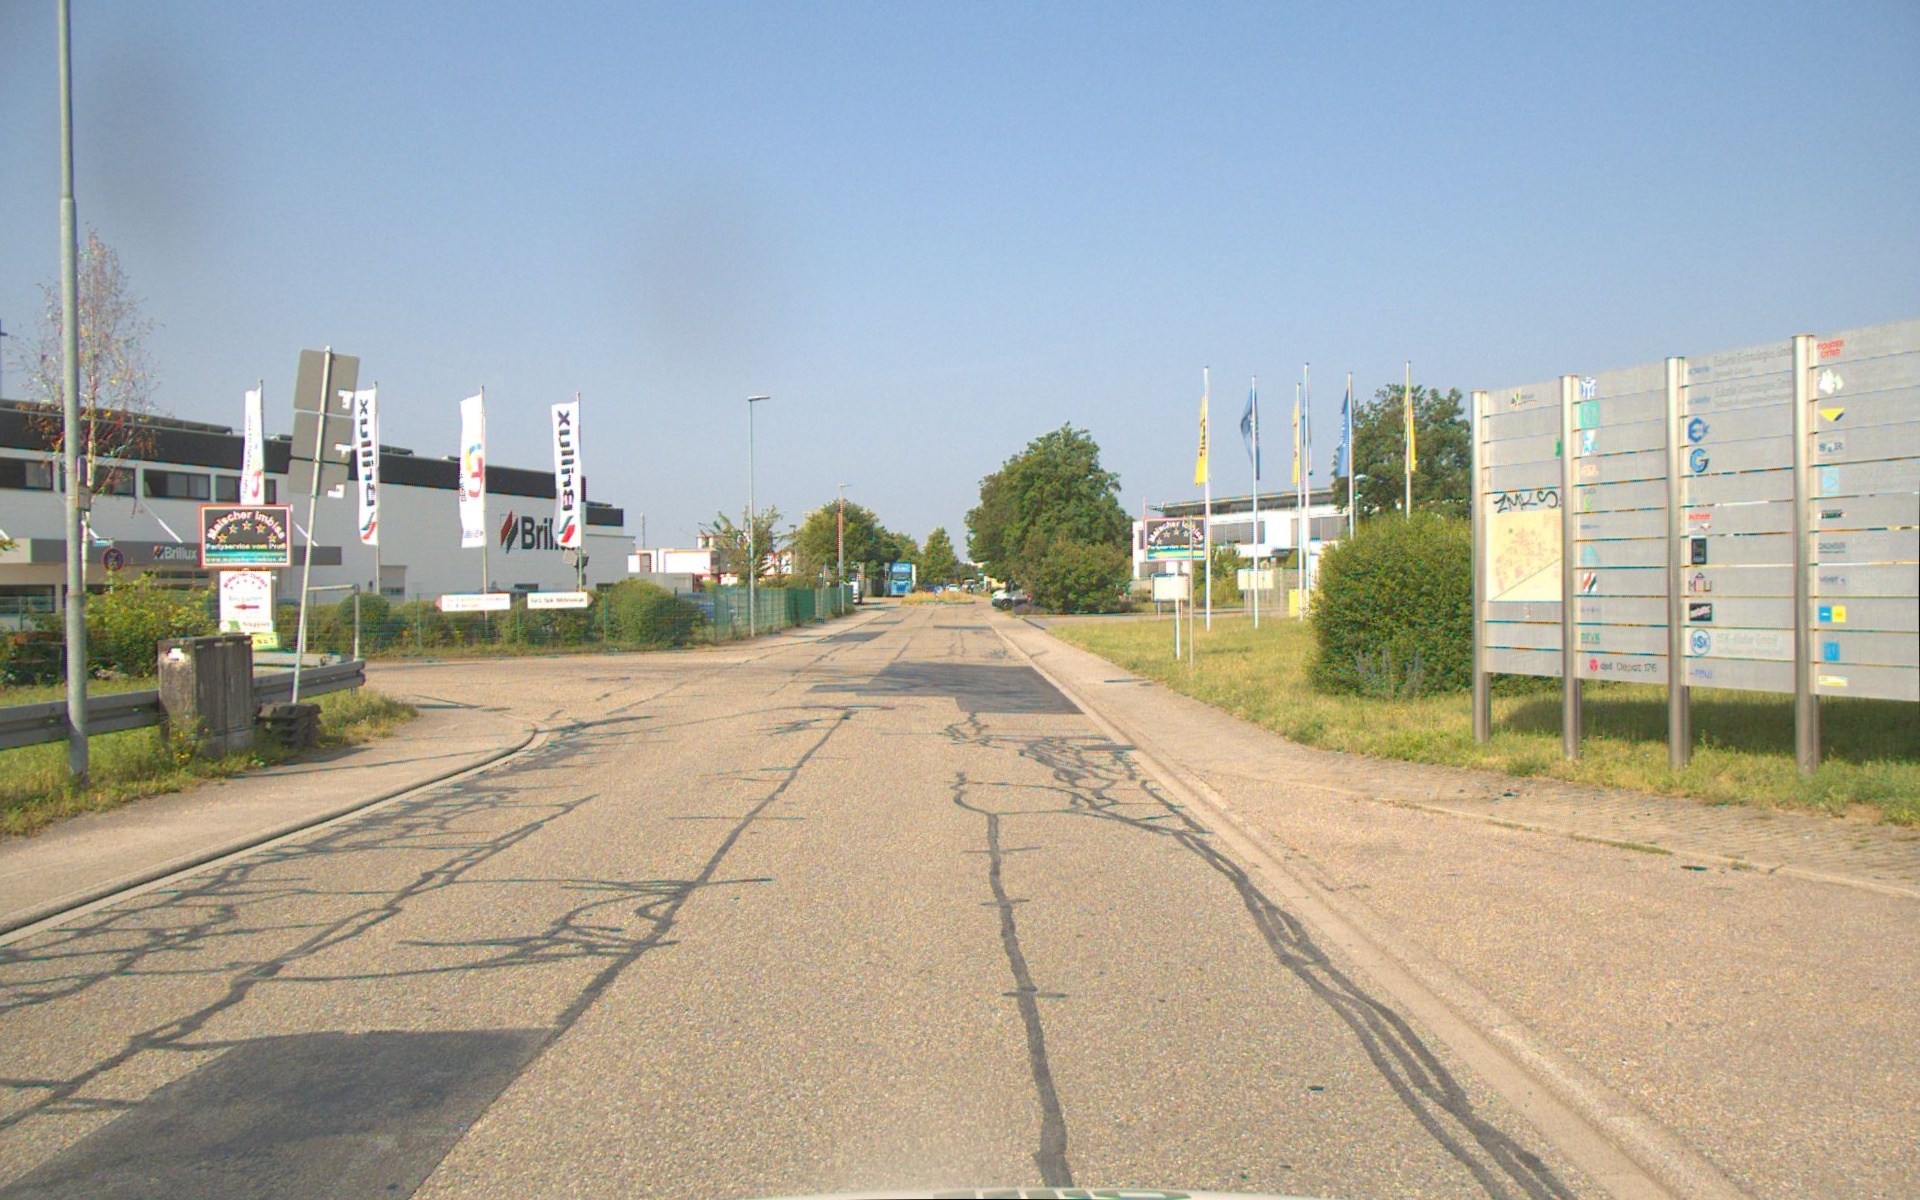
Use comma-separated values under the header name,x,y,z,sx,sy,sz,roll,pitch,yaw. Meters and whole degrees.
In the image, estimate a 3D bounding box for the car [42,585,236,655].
name,x,y,z,sx,sy,sz,roll,pitch,yaw
car,-22.094,0.530,44.551,4.554,1.782,2.152,-1,0,21

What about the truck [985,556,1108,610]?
name,x,y,z,sx,sy,sz,roll,pitch,yaw
truck,5.824,-1.150,112.051,8.042,3.429,2.740,-1,-1,-2

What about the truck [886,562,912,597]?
name,x,y,z,sx,sy,sz,roll,pitch,yaw
truck,-7.216,-2.349,196.011,2.768,3.892,9.670,1,-1,-1

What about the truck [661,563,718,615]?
name,x,y,z,sx,sy,sz,roll,pitch,yaw
truck,-21.876,-0.856,134.123,2.459,4.142,5.547,1,-1,14

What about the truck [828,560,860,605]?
name,x,y,z,sx,sy,sz,roll,pitch,yaw
truck,-10.608,-1.554,151.792,2.654,3.990,4.295,1,-1,-1

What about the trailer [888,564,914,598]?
name,x,y,z,sx,sy,sz,roll,pitch,yaw
trailer,-7.300,-2.260,206.087,2.773,3.910,12.033,1,-1,-1

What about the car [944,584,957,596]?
name,x,y,z,sx,sy,sz,roll,pitch,yaw
car,-1.331,-1.406,236.746,1.683,1.690,3.822,1,-1,-2

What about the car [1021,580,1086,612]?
name,x,y,z,sx,sy,sz,roll,pitch,yaw
car,5.702,-0.232,101.409,3.905,1.870,2.000,-1,0,1

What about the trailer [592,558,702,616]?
name,x,y,z,sx,sy,sz,roll,pitch,yaw
trailer,-23.778,-0.860,126.908,2.429,4.112,13.897,1,-1,15
